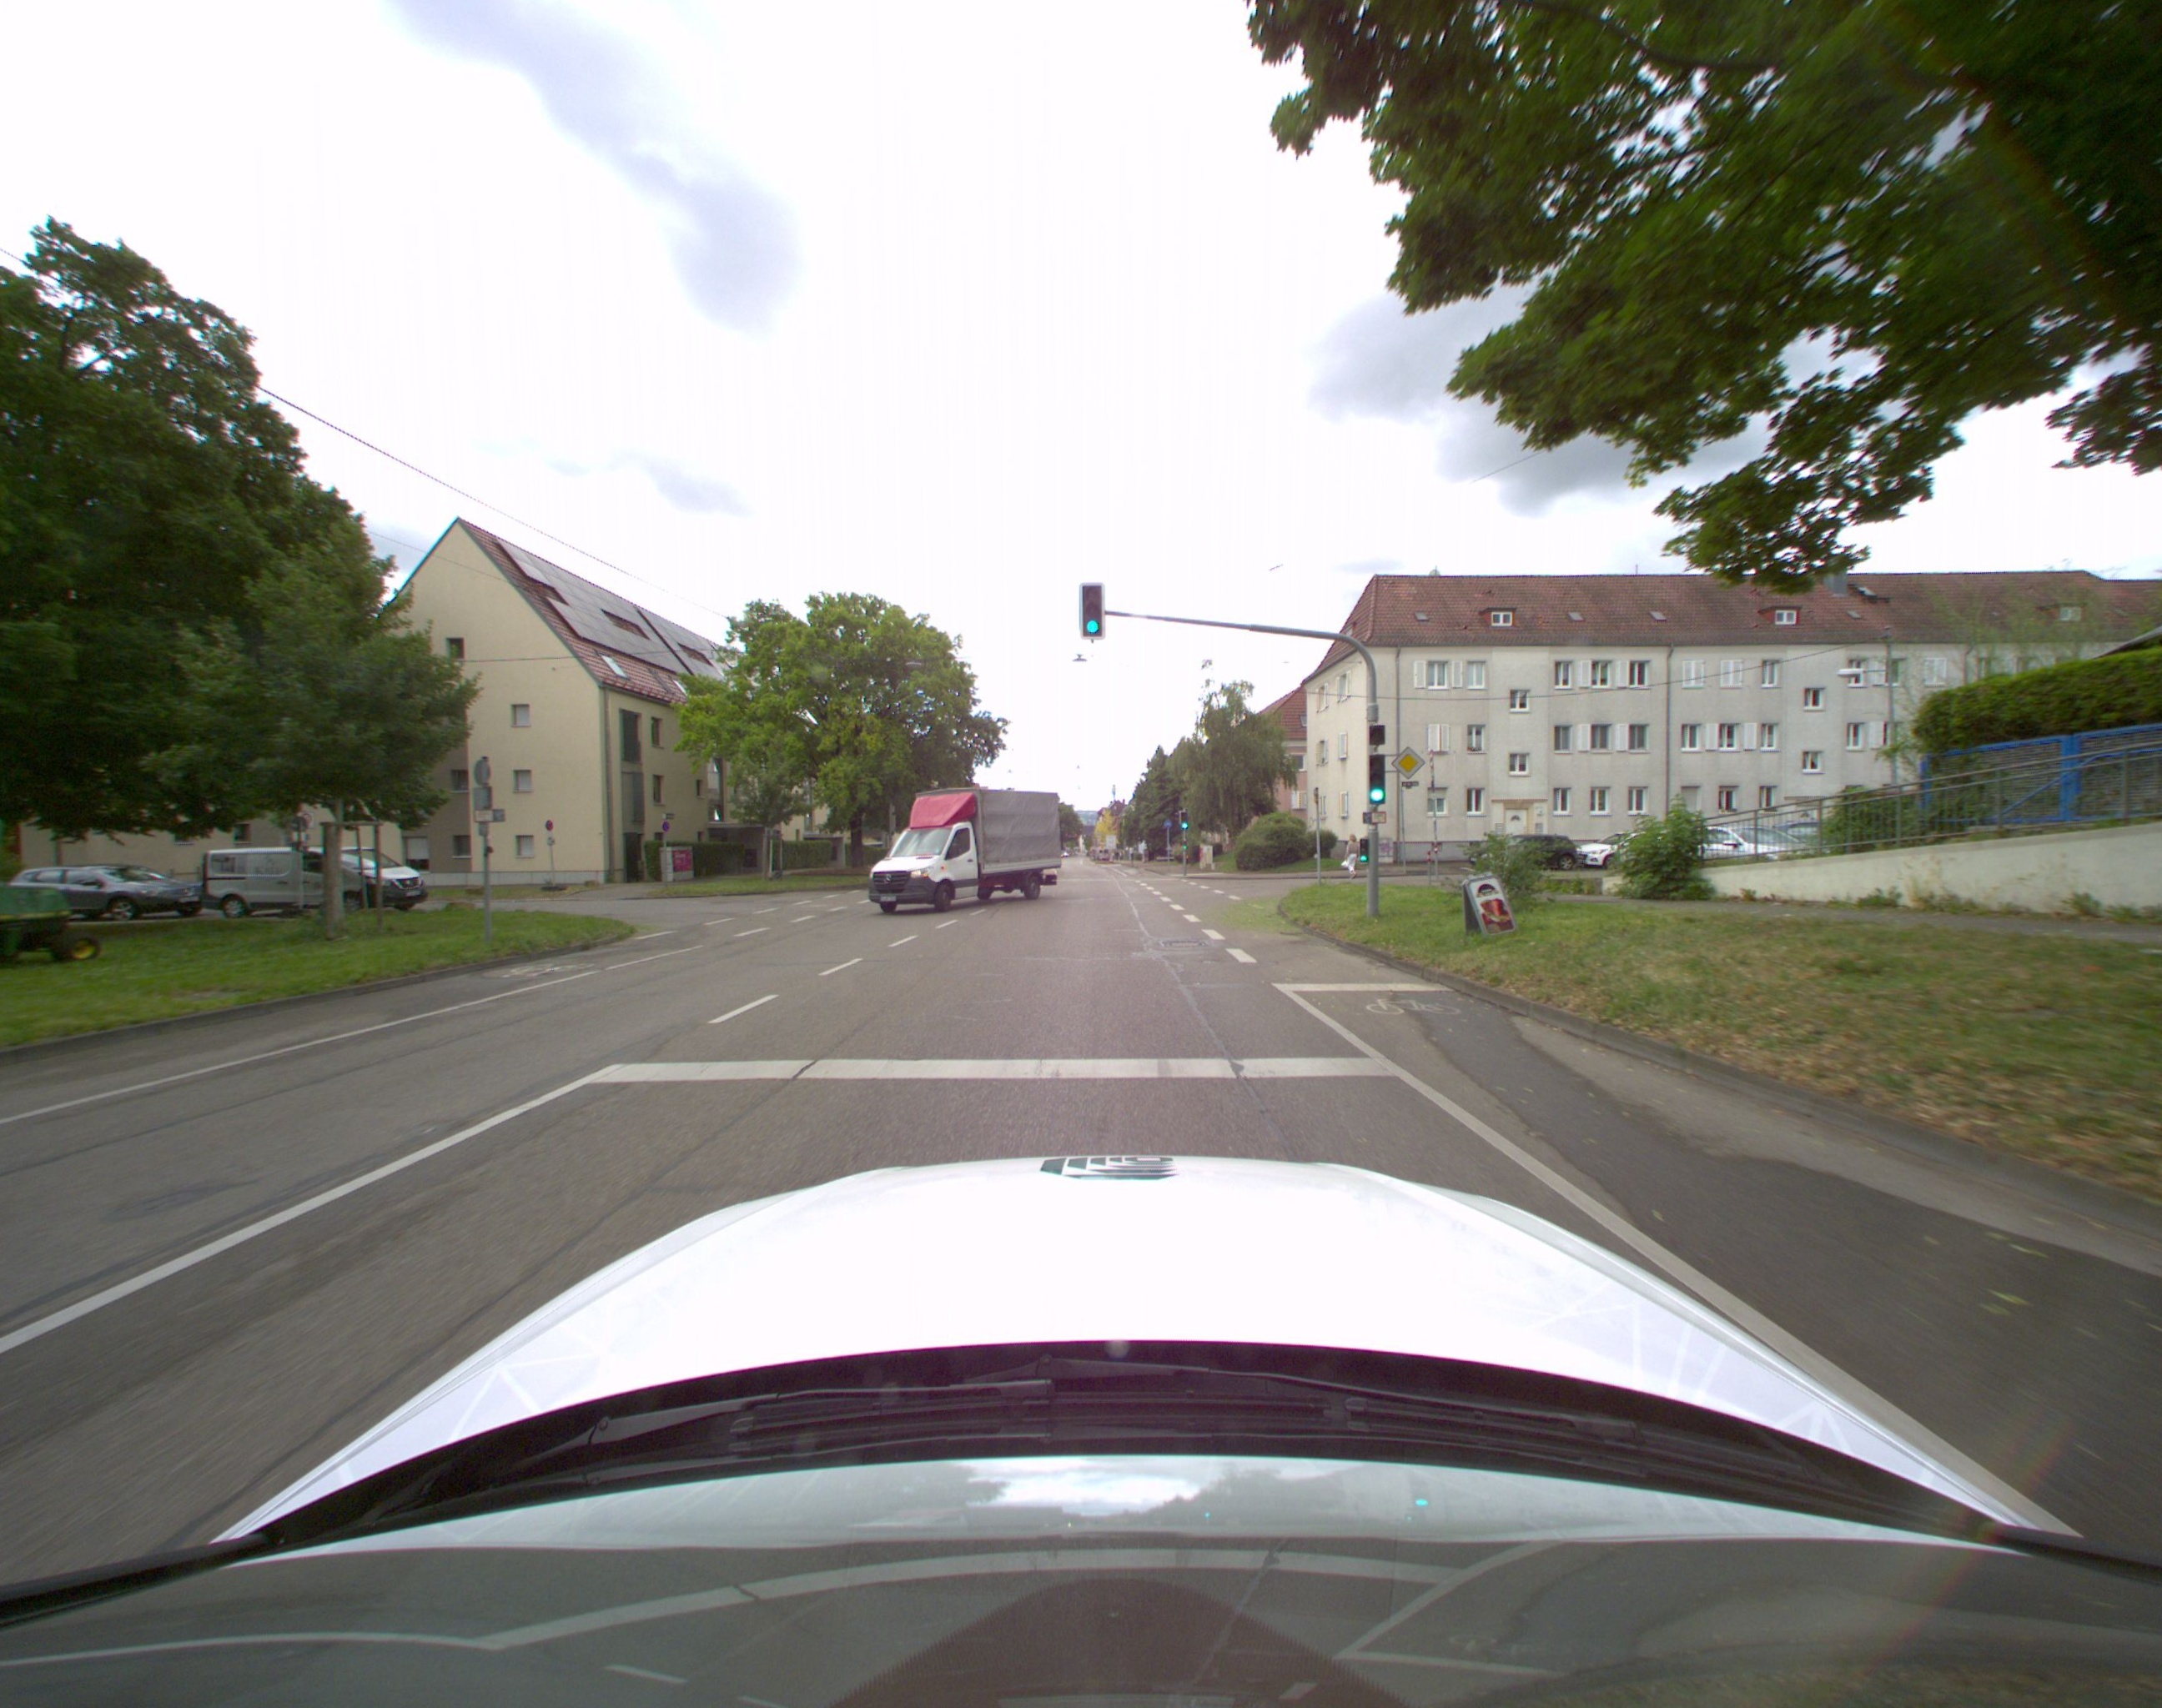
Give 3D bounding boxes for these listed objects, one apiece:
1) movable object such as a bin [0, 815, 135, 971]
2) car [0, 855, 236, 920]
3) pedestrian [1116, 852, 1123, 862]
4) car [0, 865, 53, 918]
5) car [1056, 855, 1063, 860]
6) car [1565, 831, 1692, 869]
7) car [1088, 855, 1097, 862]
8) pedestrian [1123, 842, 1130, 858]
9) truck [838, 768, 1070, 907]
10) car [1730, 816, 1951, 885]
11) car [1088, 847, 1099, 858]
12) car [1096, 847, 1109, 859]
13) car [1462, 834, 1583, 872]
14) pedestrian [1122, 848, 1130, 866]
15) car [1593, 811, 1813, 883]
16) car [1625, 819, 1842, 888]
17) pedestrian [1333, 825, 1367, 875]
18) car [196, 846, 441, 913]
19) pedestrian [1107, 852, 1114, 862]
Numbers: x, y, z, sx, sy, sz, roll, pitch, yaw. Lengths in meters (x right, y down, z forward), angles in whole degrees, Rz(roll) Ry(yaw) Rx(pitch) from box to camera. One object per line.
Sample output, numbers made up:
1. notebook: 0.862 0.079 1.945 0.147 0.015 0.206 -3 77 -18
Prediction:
1. movable object such as a bin: -13.789 0.479 9.795 1.212 1.903 3.026 0 0 1
2. car: -27.591 0.905 23.148 4.908 1.761 1.999 0 0 -2
3. pedestrian: 6.672 0.495 143.005 1.196 1.810 1.301 0 0 1
4. car: -32.849 1.066 23.110 4.649 1.479 1.999 0 0 -2
5. car: -6.479 1.024 242.279 1.987 1.505 3.998 0 0 -1
6. car: 22.856 -0.161 34.135 3.970 1.536 2.002 0 0 3
7. car: 2.722 1.096 199.107 1.988 1.656 3.997 0 0 -2
8. pedestrian: 6.633 -0.583 118.487 0.987 2.207 0.937 0 0 -2
9. truck: -3.240 -0.410 23.130 2.507 3.307 7.296 -1 0 29
10. car: 18.824 -0.091 20.468 1.815 1.536 3.973 0 0 -2
11. car: 2.423 -0.248 162.494 1.989 2.172 3.996 0 0 -3
12. car: 3.464 -0.147 129.573 1.986 2.013 4.001 0 0 1
13. car: 18.253 -0.041 33.813 3.970 1.536 2.002 0 0 3
14. pedestrian: 5.546 0.335 100.797 0.985 2.207 0.939 0 0 3
15. car: 13.973 -0.143 18.627 1.865 1.473 3.995 0 0 -3
16. car: 16.161 -0.026 20.518 1.988 1.536 4.295 0 0 -2
17. pedestrian: 10.307 -0.164 31.208 0.749 1.855 0.950 -4 0 -14
18. car: -21.639 0.697 23.287 4.979 1.813 1.999 0 0 -2
19. pedestrian: 5.203 0.501 143.710 1.195 1.810 1.302 0 0 3
